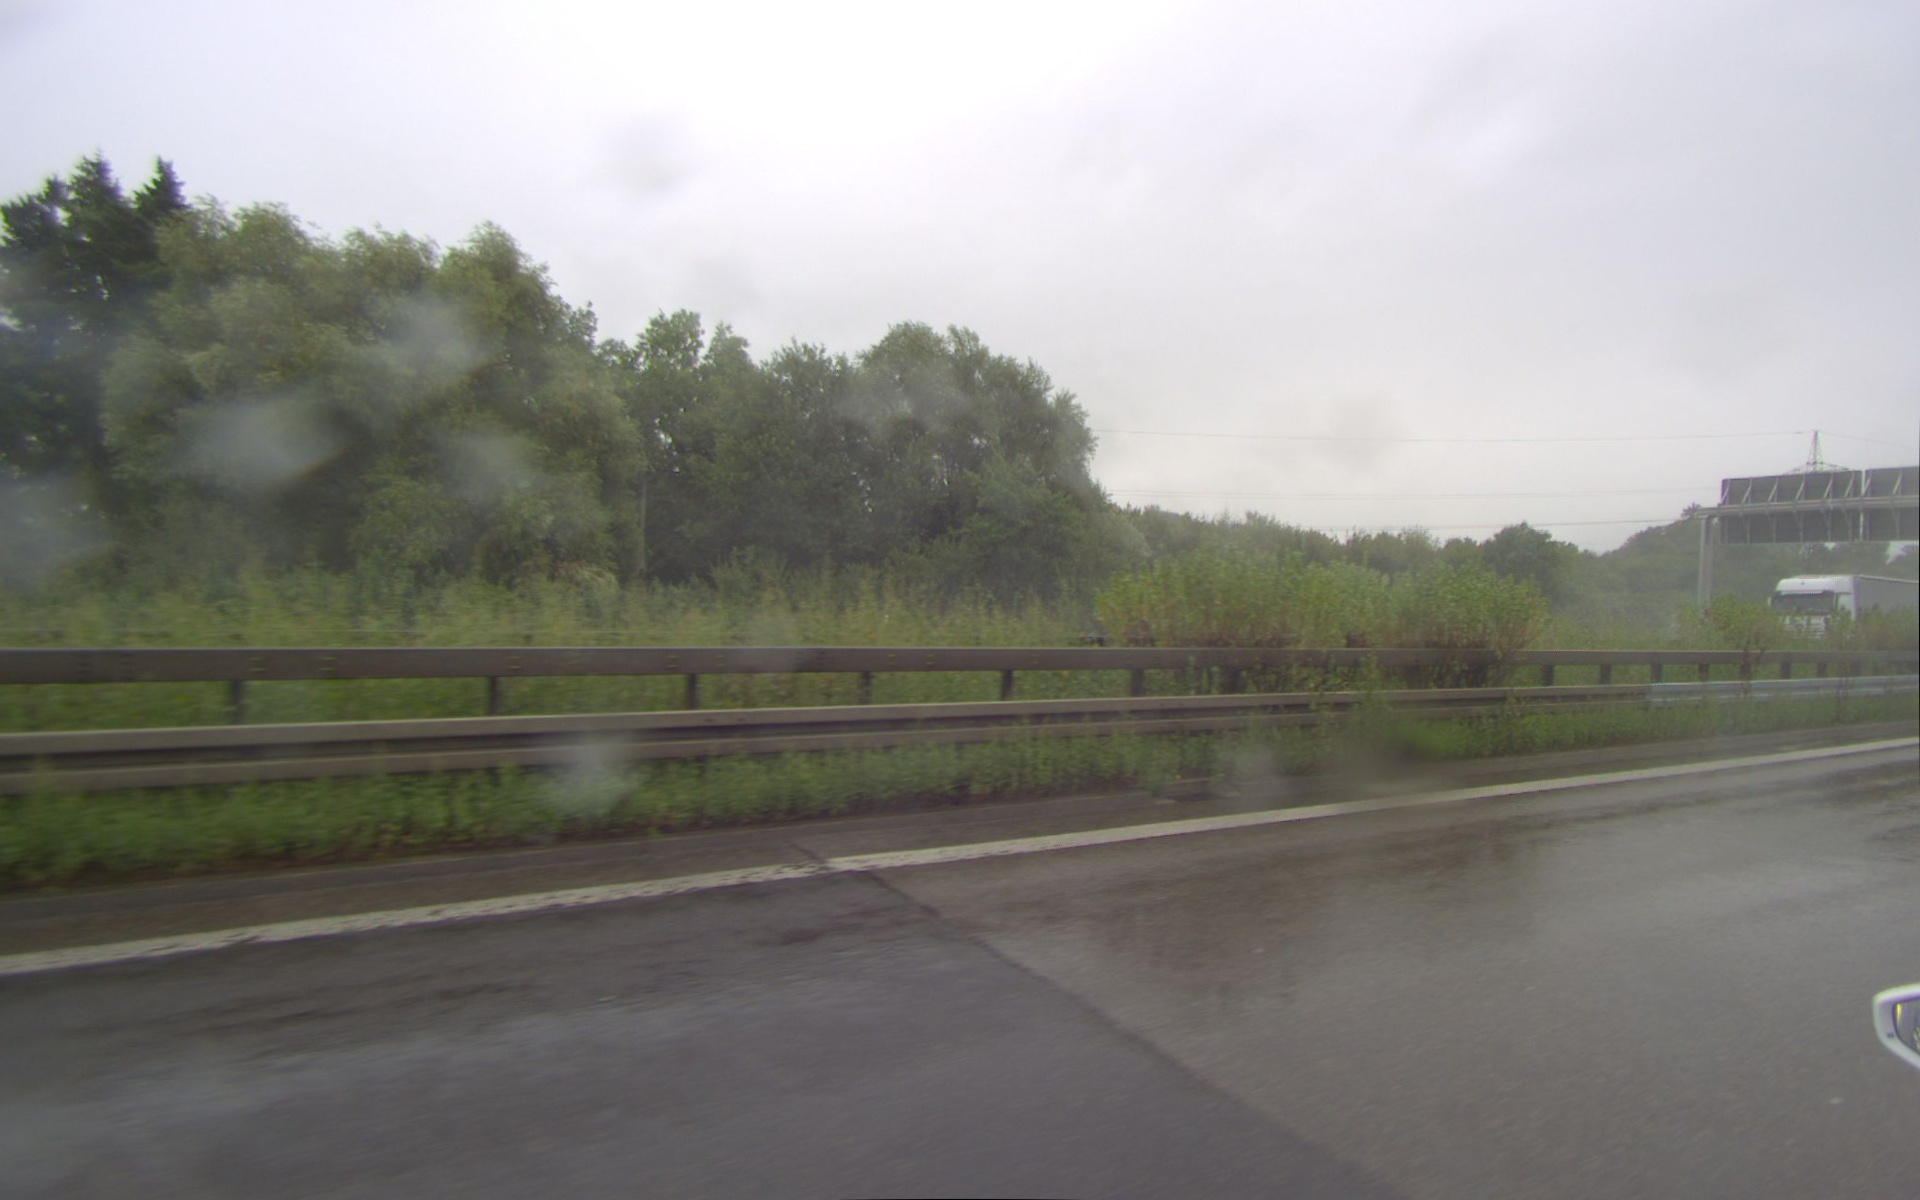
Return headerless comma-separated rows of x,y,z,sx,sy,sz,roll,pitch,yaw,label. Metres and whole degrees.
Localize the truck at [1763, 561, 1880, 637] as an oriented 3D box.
41.616,-0.032,48.500,5.464,3.463,2.653,1,1,-31,truck
